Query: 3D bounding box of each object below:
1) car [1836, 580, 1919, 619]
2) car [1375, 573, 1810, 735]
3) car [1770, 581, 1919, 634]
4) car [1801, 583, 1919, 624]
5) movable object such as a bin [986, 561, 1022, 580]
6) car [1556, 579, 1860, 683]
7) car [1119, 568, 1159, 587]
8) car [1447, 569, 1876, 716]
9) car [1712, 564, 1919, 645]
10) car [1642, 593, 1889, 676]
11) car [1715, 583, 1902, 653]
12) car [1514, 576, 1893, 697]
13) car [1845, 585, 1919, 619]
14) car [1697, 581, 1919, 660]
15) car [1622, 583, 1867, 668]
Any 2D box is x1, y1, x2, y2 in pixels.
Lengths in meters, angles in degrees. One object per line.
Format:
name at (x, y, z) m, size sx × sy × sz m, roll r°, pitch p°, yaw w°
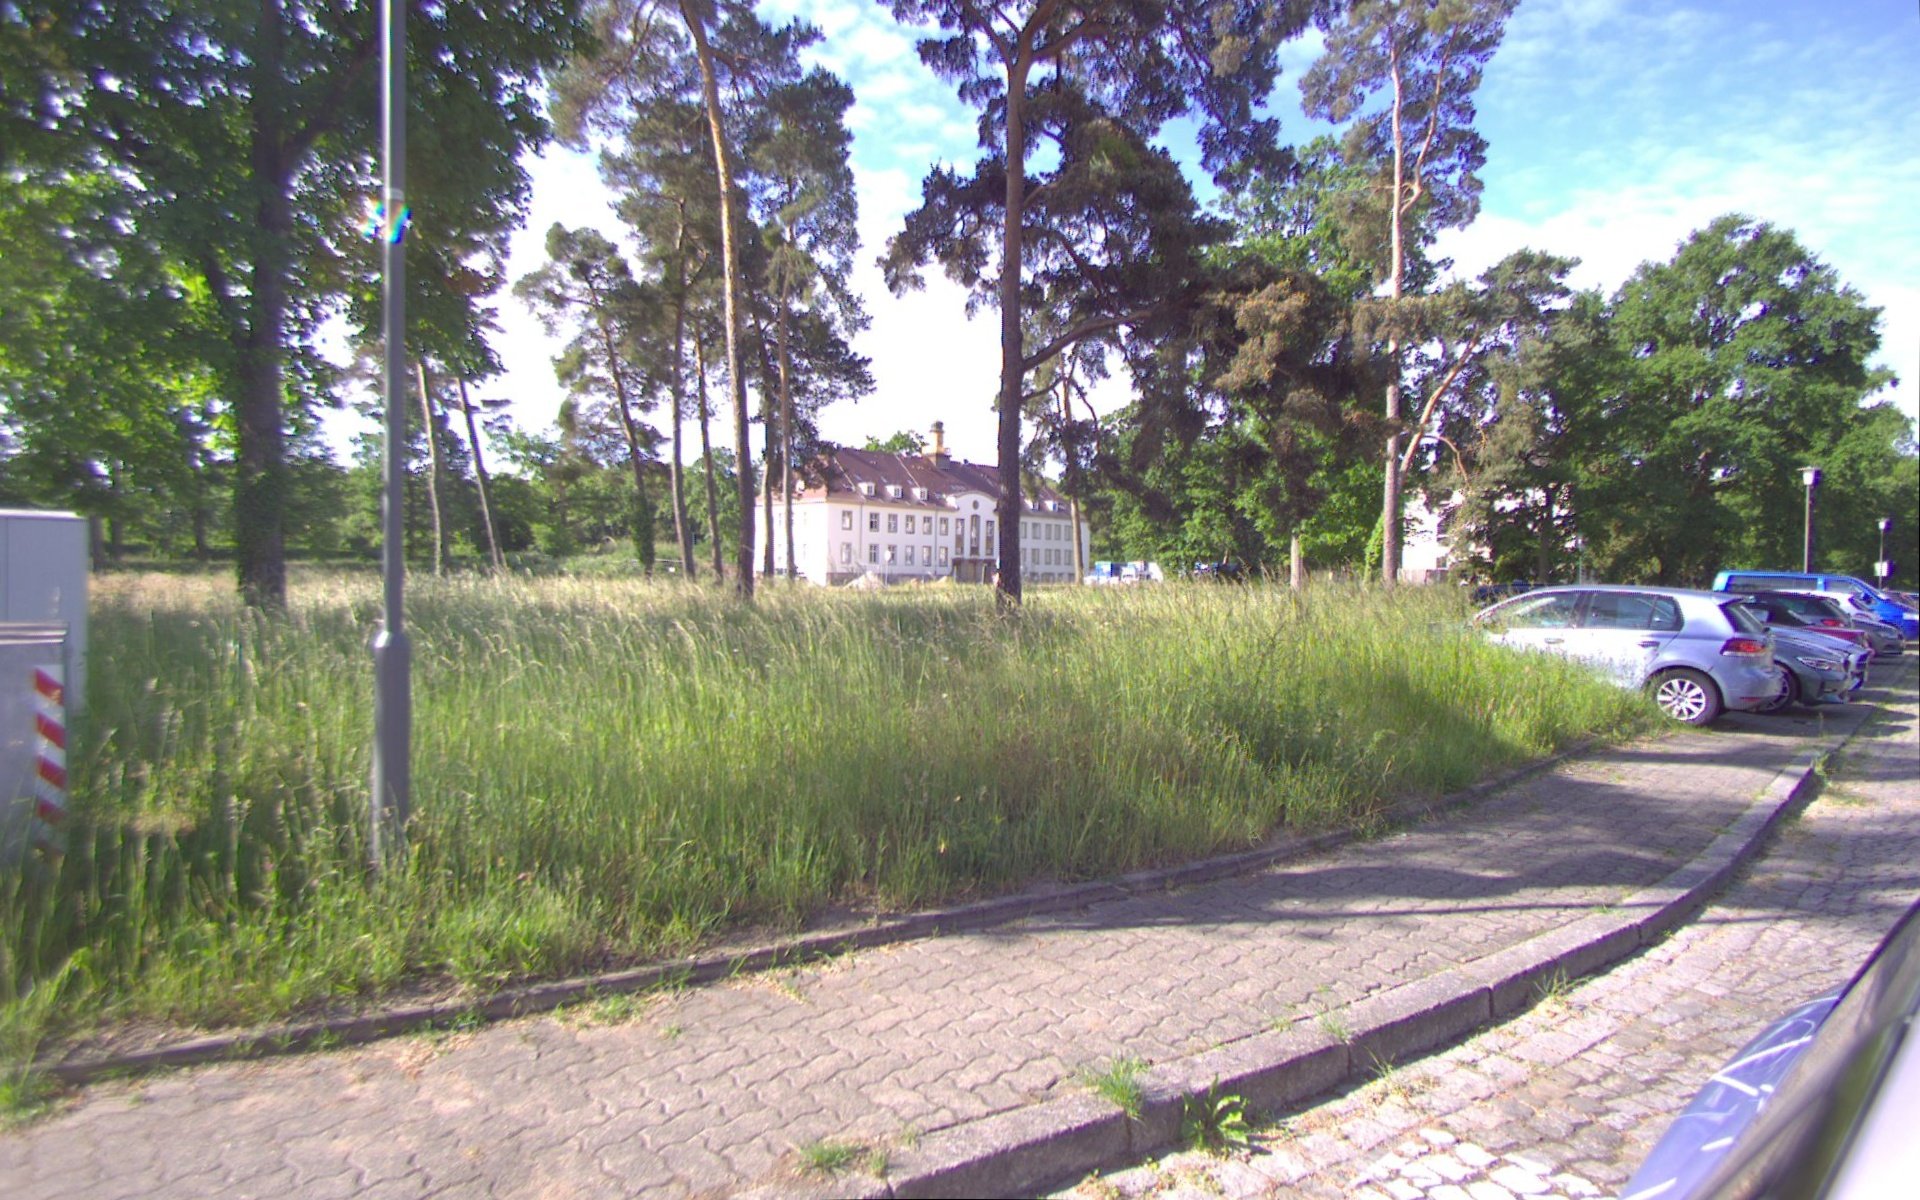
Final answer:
car at (44.788, -0.023, 48.506) m, size 1.726 × 1.763 × 3.993 m, roll -2°, pitch 0°, yaw -40°
car at (7.310, 0.482, 11.973) m, size 1.840 × 1.478 × 4.020 m, roll -1°, pitch 3°, yaw -44°
car at (30.295, 0.207, 34.422) m, size 1.726 × 1.660 × 3.995 m, roll 0°, pitch 2°, yaw -40°
car at (37.365, 0.101, 41.653) m, size 1.726 × 1.537 × 3.995 m, roll 0°, pitch 2°, yaw -40°
movable object such as a bin at (5.660, -3.764, 130.261) m, size 1.993 × 2.351 × 4.910 m, roll 2°, pitch 2°, yaw 42°
car at (12.604, 0.432, 17.227) m, size 1.634 × 1.410 × 3.912 m, roll -1°, pitch 3°, yaw -44°
car at (20.049, -2.528, 113.534) m, size 4.692 × 2.038 × 1.996 m, roll 0°, pitch 2°, yaw -43°
car at (9.234, 0.418, 13.607) m, size 4.496 × 1.535 × 1.798 m, roll 4°, pitch 3°, yaw 43°
car at (24.087, 0.053, 28.197) m, size 1.966 × 2.038 × 4.722 m, roll 0°, pitch 2°, yaw -42°
car at (14.563, 0.566, 18.411) m, size 1.396 × 1.271 × 3.351 m, roll -1°, pitch 2°, yaw -44°
car at (20.384, 0.370, 24.397) m, size 1.424 × 1.509 × 3.263 m, roll 0°, pitch 2°, yaw -41°
car at (11.204, 0.434, 15.510) m, size 1.796 × 1.419 × 4.416 m, roll -1°, pitch 4°, yaw -44°
car at (48.112, 0.098, 51.763) m, size 1.725 × 1.635 × 3.995 m, roll -2°, pitch 0°, yaw -39°
car at (18.598, 0.381, 22.201) m, size 1.478 × 1.509 × 3.628 m, roll 0°, pitch 2°, yaw -34°
car at (15.947, 0.436, 20.712) m, size 1.524 × 1.509 × 3.773 m, roll -1°, pitch 2°, yaw -44°
